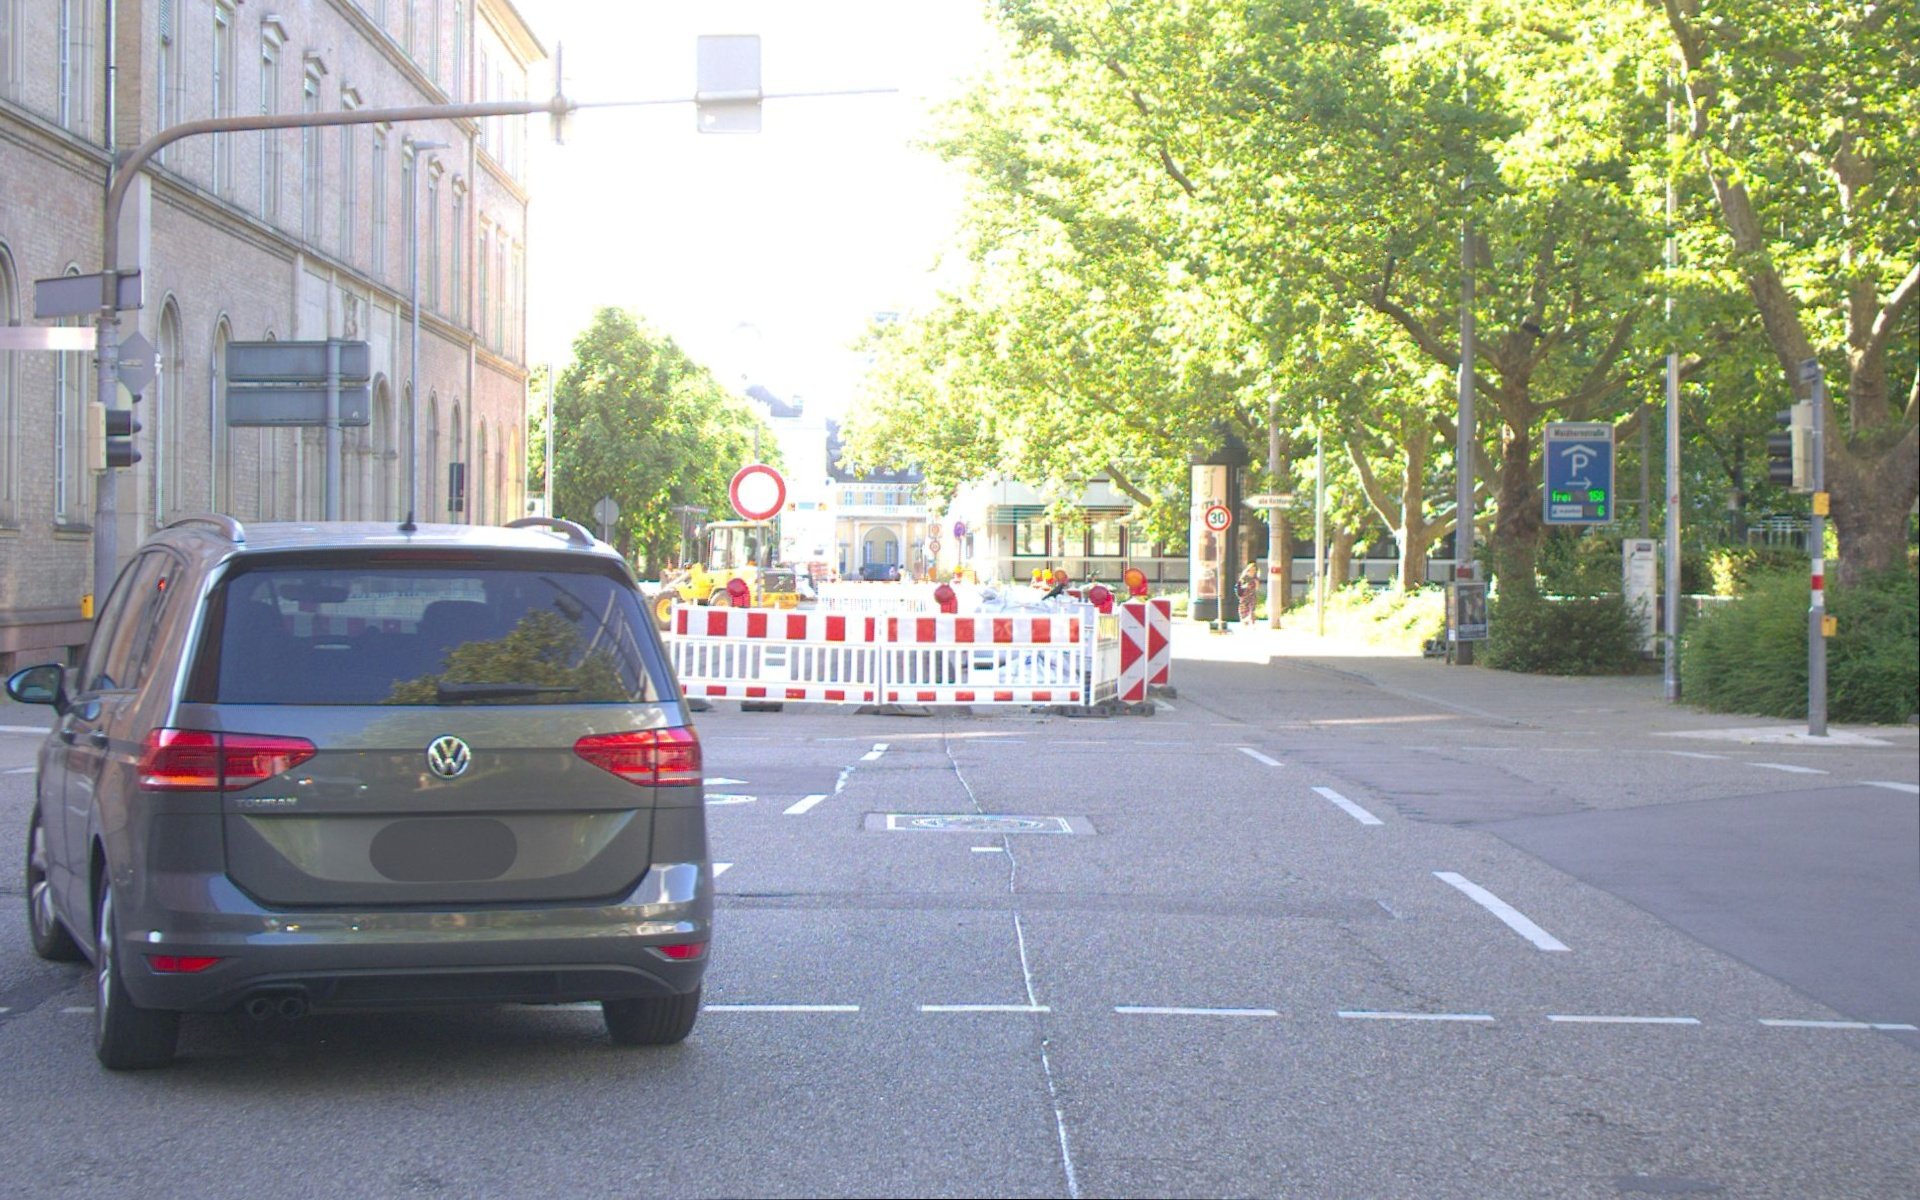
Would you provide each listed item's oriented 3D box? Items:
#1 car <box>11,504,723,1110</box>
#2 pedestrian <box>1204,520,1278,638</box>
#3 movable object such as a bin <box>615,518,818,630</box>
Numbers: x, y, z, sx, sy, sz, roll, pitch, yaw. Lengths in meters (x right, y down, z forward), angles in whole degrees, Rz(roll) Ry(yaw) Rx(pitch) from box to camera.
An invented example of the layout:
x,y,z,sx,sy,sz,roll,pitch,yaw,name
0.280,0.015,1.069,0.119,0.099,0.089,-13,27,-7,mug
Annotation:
x,y,z,sx,sy,sz,roll,pitch,yaw,name
-2.112,0.521,11.255,1.761,1.601,4.001,0,1,-18,car
6.424,-0.482,78.699,1.419,2.658,1.148,1,0,-10,pedestrian
-6.223,-0.679,87.598,4.838,2.767,2.468,1,0,41,movable object such as a bin
